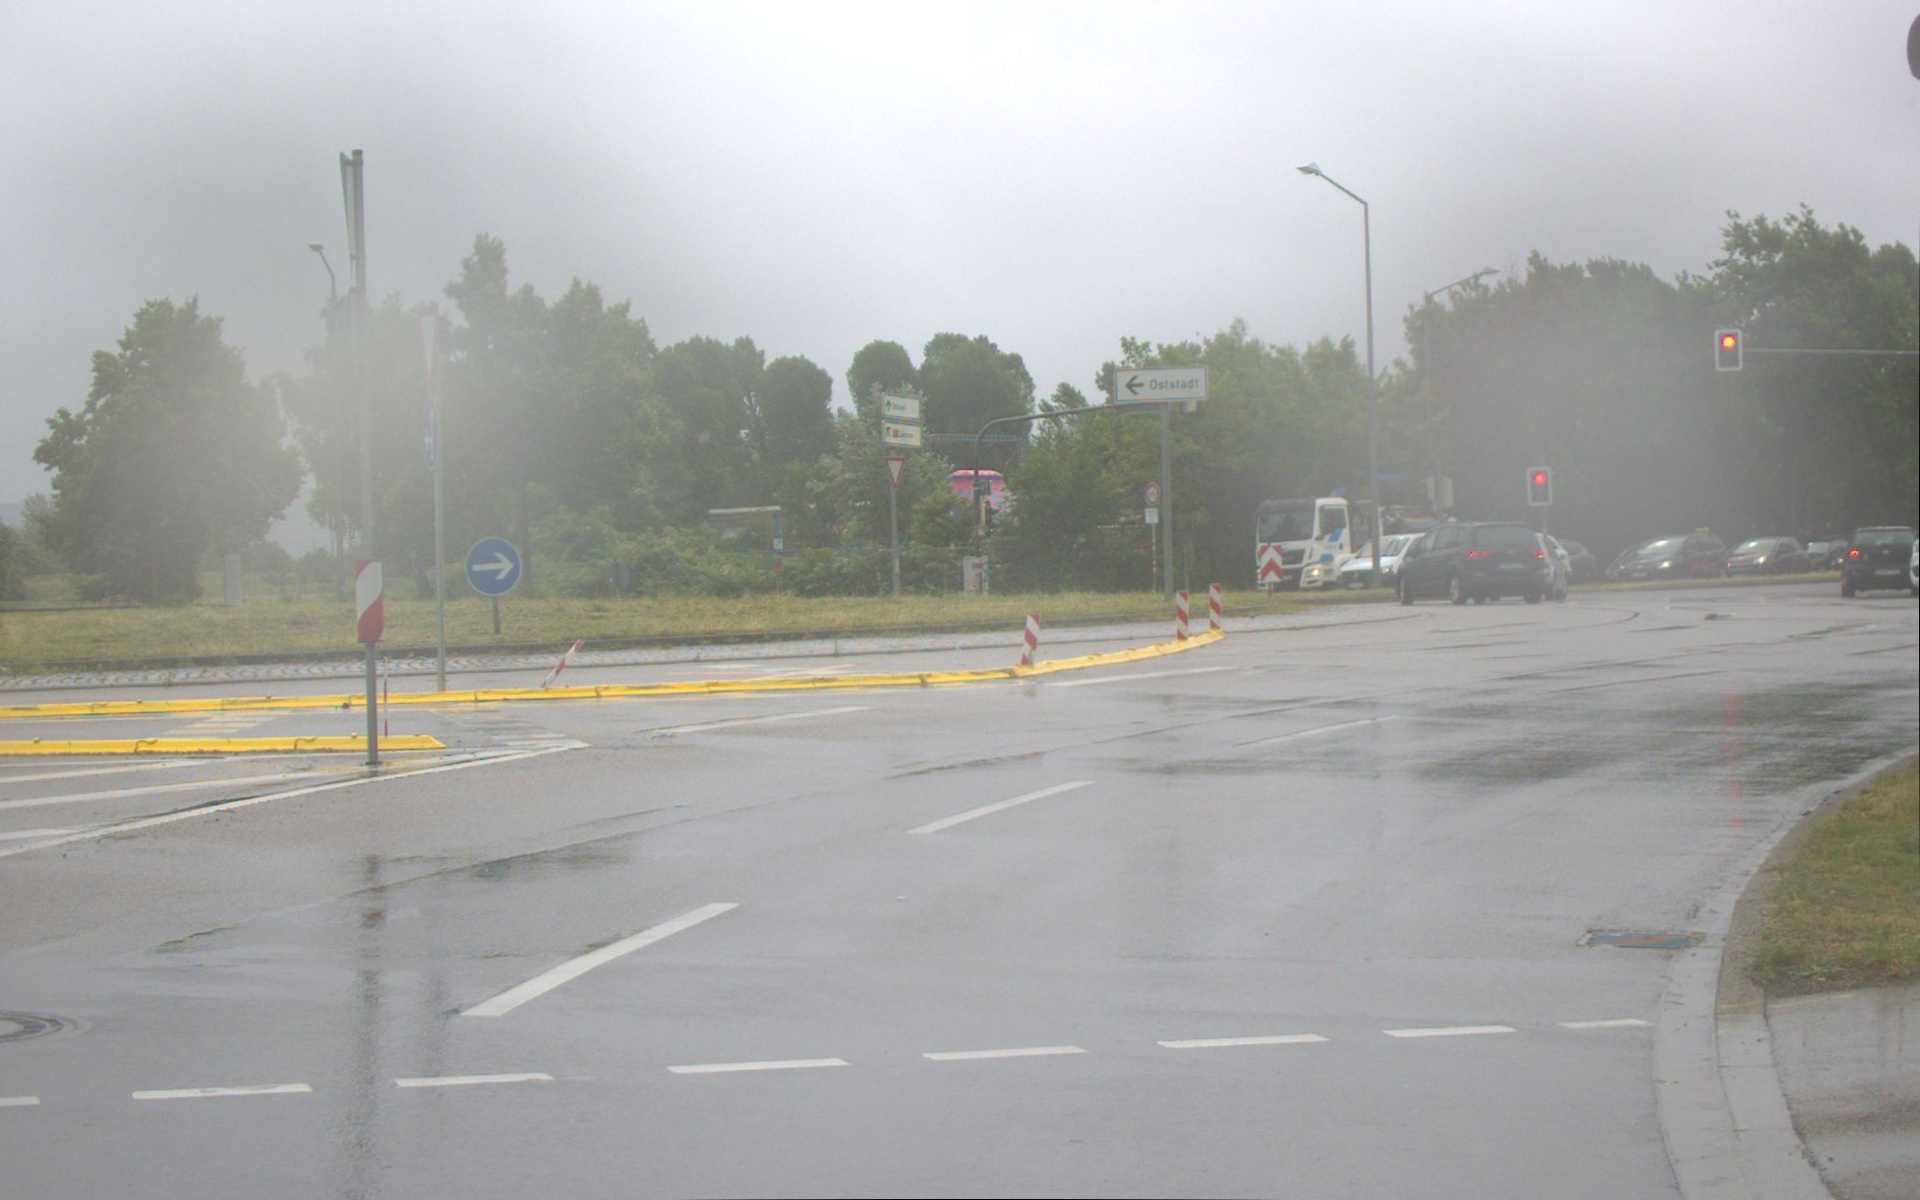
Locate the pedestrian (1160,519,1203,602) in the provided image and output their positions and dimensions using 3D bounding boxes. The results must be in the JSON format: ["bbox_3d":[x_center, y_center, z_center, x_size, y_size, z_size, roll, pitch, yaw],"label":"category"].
[{"bbox_3d":[3.500,-0.628,54.300,0.453,1.300,0.485,-1,1,38],"label":"pedestrian"}]

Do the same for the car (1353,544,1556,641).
[{"bbox_3d":[9.800,-0.153,68.565,1.993,1.845,4.777,1,0,-20],"label":"car"}]

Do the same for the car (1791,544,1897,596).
[{"bbox_3d":[29.309,-0.996,113.894,1.800,1.656,3.990,1,0,41],"label":"car"}]

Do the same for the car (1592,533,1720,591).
[{"bbox_3d":[20.714,-1.123,102.218,1.800,1.656,4.399,1,0,41],"label":"car"}]

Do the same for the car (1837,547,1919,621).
[{"bbox_3d":[19.060,-0.352,71.070,1.619,1.449,3.986,-1,1,12],"label":"car"}]

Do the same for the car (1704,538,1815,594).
[{"bbox_3d":[24.989,-1.060,107.403,1.800,1.656,3.991,1,0,39],"label":"car"}]

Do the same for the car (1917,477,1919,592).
[{"bbox_3d":[17.971,-1.013,55.071,4.767,1.845,1.997,1,0,27],"label":"car"}]

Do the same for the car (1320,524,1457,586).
[{"bbox_3d":[12.002,-1.255,96.167,1.800,1.656,4.124,1,0,41],"label":"car"}]

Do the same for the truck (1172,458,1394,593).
[{"bbox_3d":[7.060,-1.539,74.086,2.464,2.677,8.049,1,0,23],"label":"truck"}]
